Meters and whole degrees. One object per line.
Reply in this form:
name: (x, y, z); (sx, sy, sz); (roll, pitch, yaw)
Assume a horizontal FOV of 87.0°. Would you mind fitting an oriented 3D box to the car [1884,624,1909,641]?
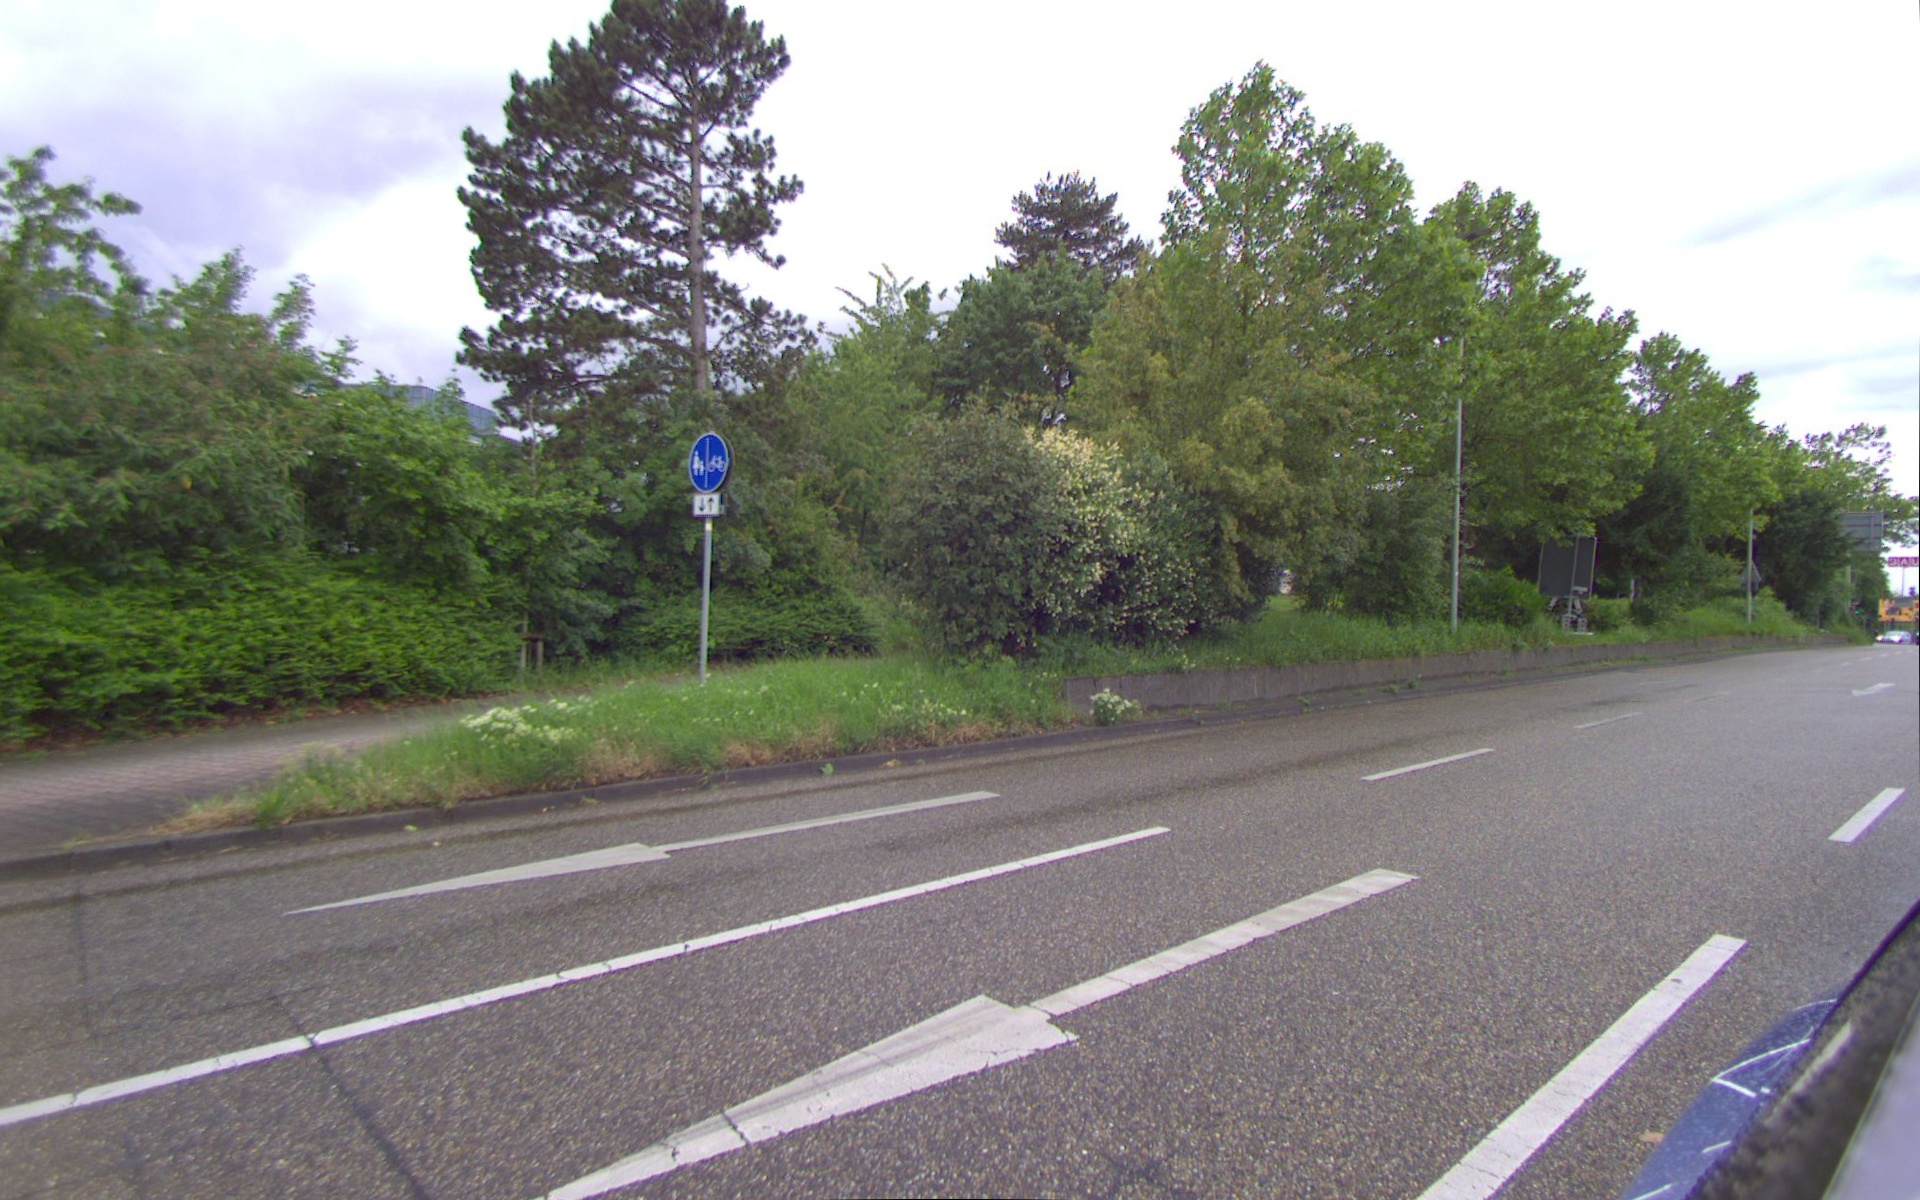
car: (104.587, 3.568, 113.002); (3.935, 1.750, 1.808); (-1, 0, -45)
